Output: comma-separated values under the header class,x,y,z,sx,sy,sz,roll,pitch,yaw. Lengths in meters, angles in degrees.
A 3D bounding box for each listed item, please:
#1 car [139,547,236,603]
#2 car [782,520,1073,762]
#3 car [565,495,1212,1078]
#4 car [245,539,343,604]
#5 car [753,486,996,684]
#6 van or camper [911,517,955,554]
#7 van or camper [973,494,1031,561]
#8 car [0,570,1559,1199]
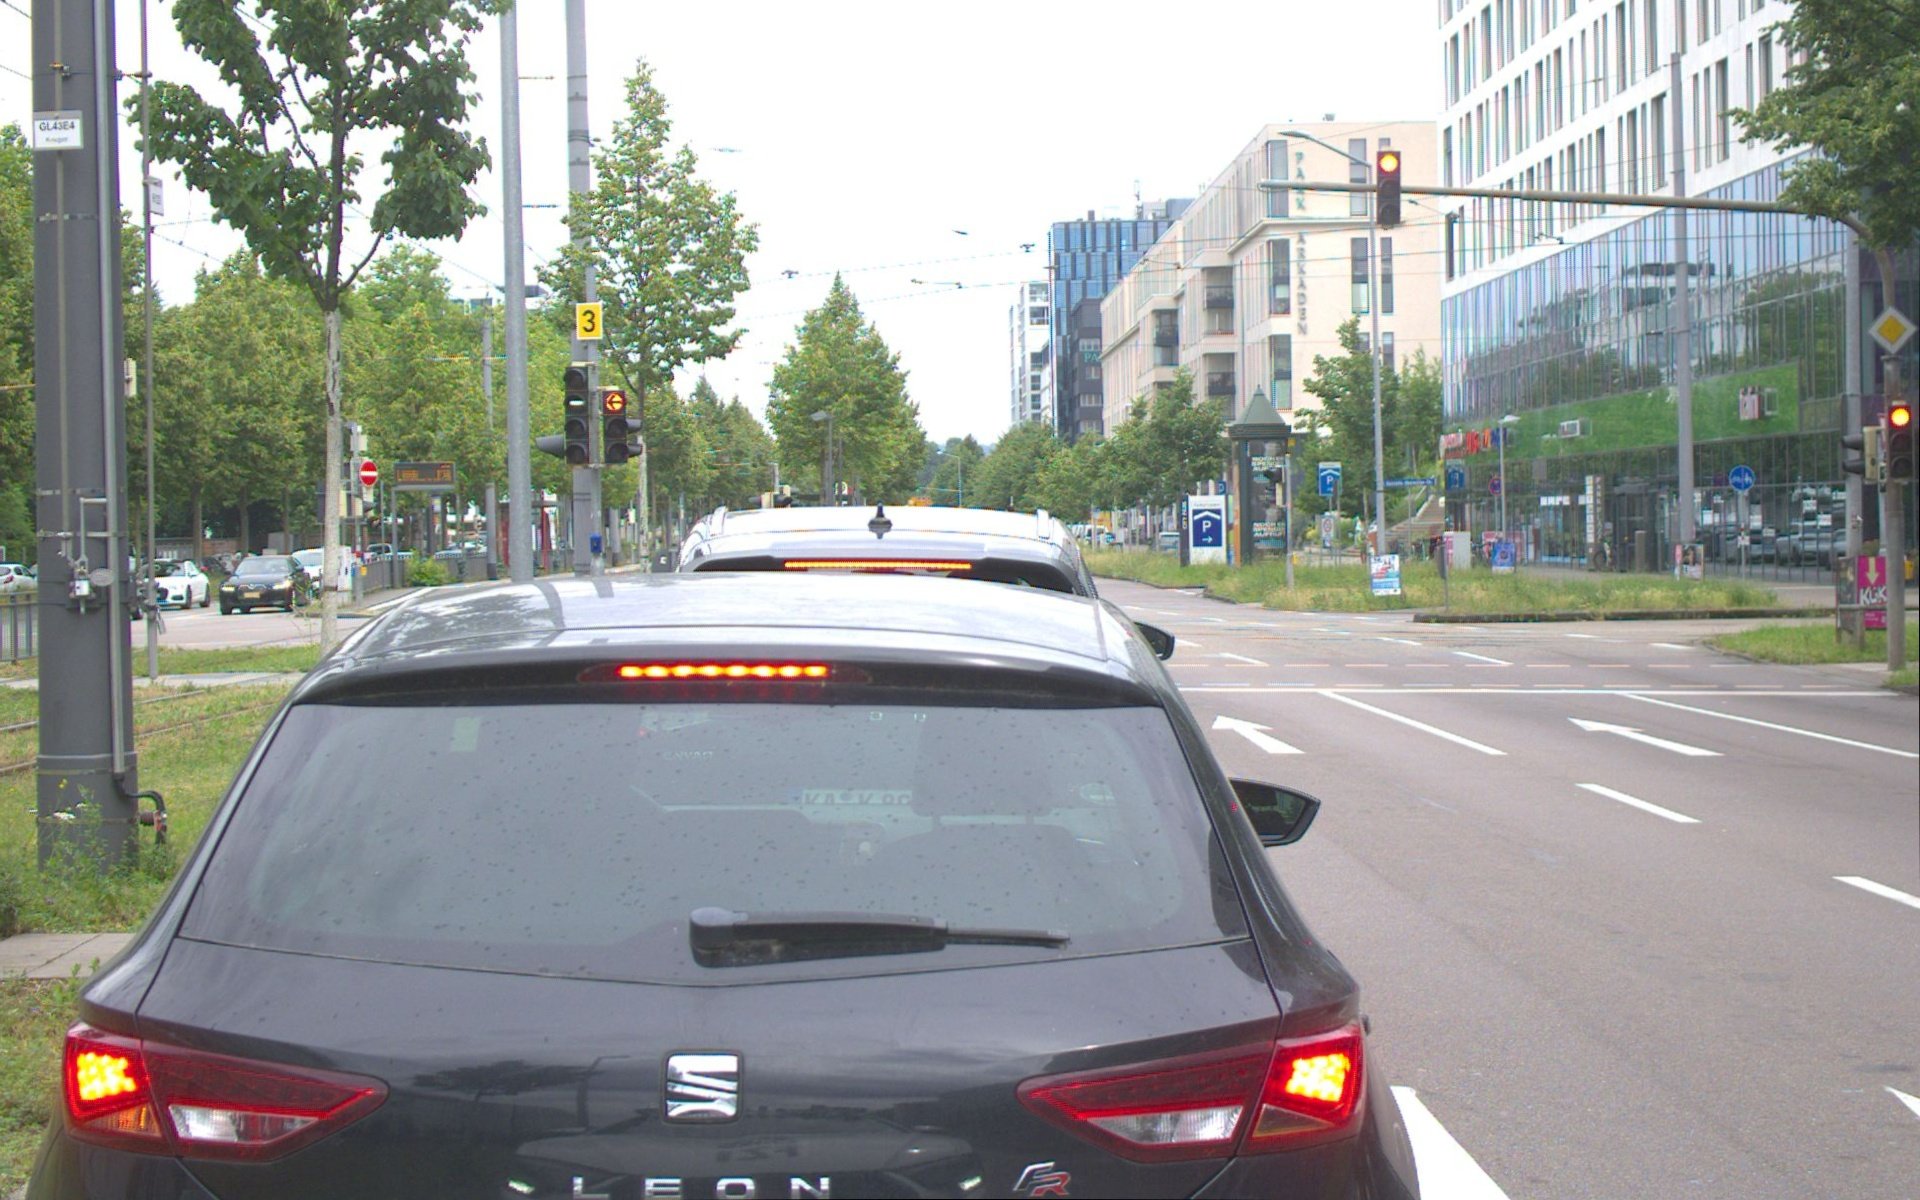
class,x,y,z,sx,sy,sz,roll,pitch,yaw
car,-23.083,-0.764,102.873,1.811,1.583,5.078,-1,1,-1
car,-0.165,0.238,26.078,1.994,1.676,4.000,1,1,2
car,-0.224,0.487,11.699,1.802,1.619,4.000,-1,1,-1
car,-18.469,-0.816,95.522,1.993,1.744,4.201,-1,1,-2
car,-0.710,-0.174,31.271,1.993,1.676,4.000,1,1,2
van or camper,-1.236,-2.999,158.355,1.993,1.609,4.789,0,2,0
van or camper,1.574,-2.768,129.912,2.109,2.348,4.924,0,3,0
car,-0.321,0.693,5.475,1.743,1.412,4.000,1,1,-1
